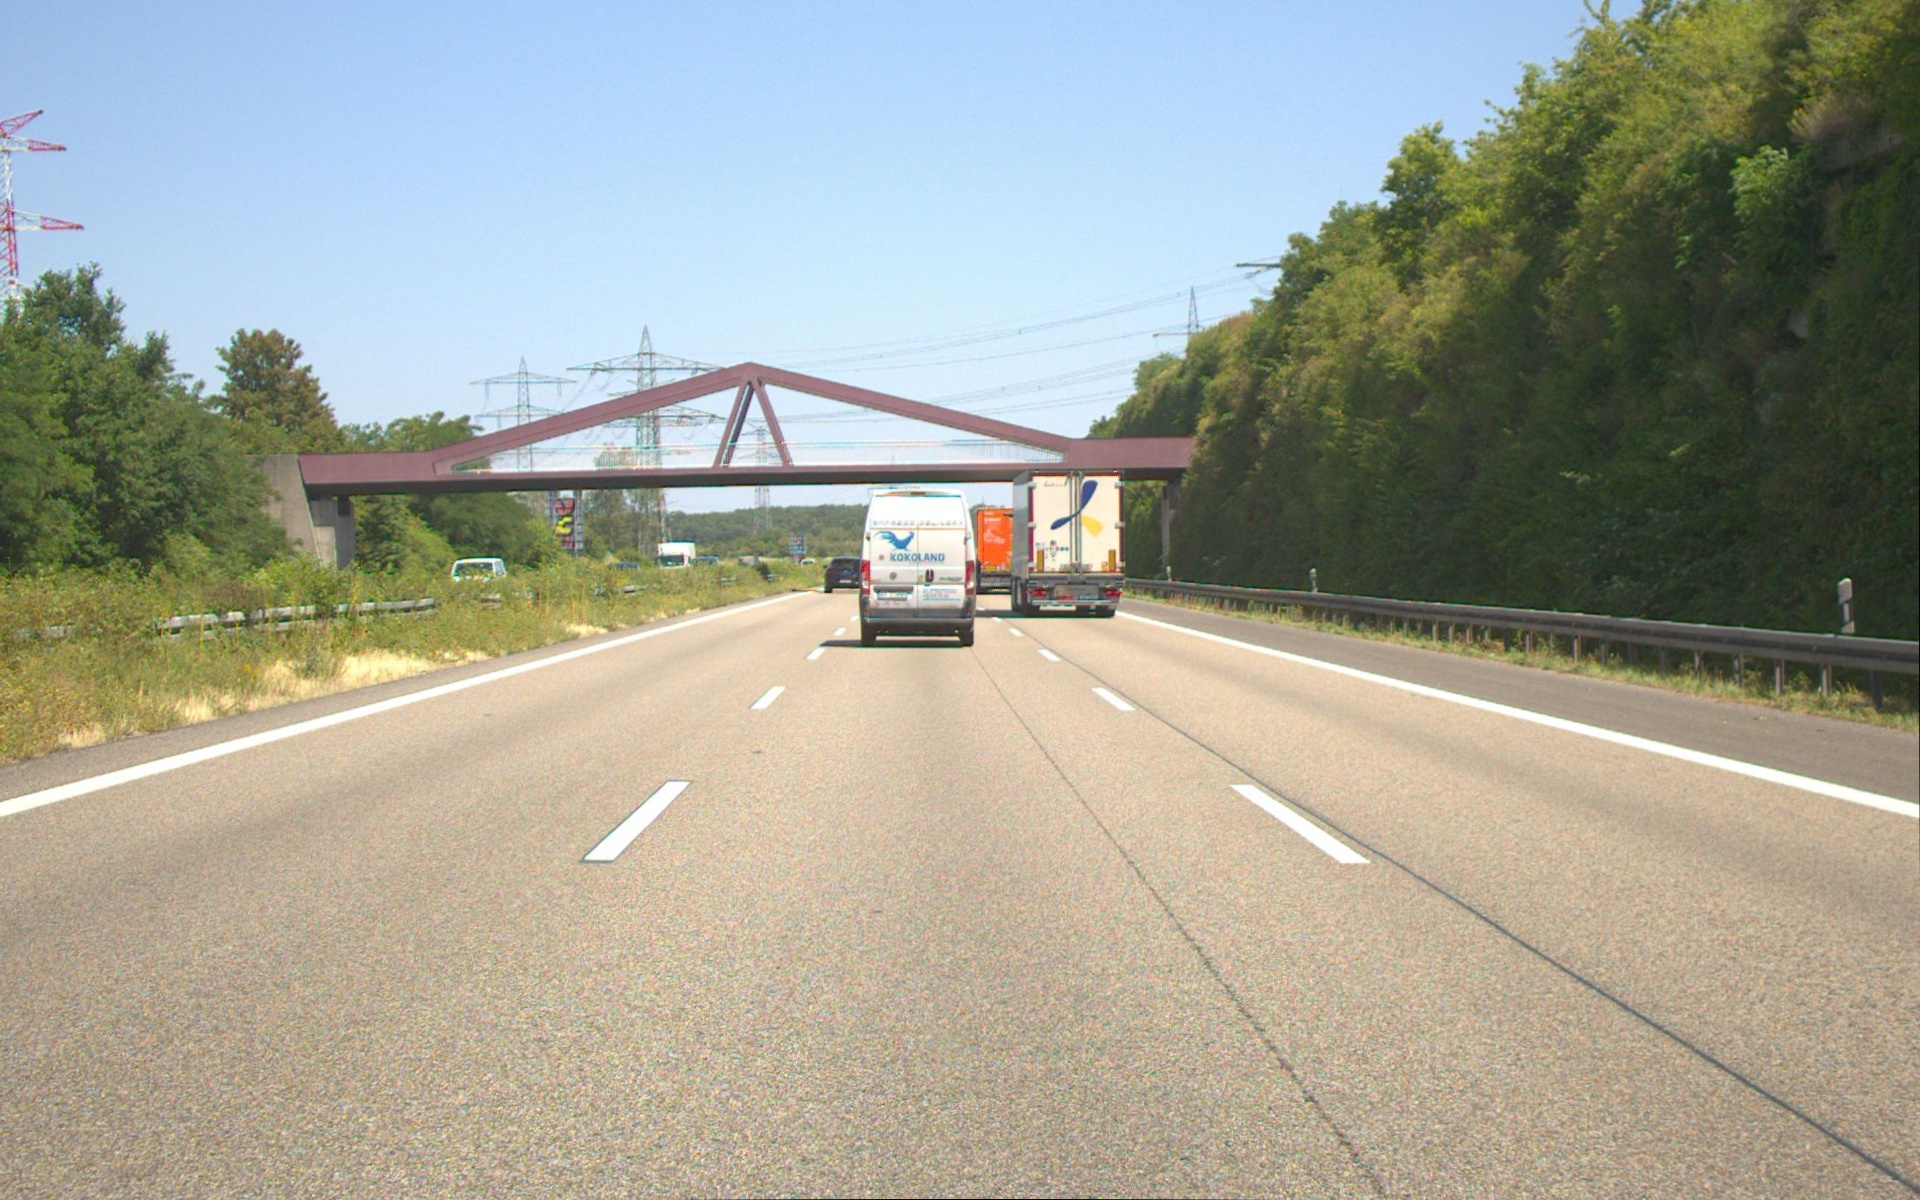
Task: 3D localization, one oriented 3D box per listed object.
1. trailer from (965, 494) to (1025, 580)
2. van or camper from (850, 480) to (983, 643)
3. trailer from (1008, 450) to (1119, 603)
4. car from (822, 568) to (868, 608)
[{"bbox_3d":[1.633,-2.952,162.384,2.637,3.883,7.069,1,1,0],"label":"trailer"},{"bbox_3d":[-0.799,-0.706,62.164,2.230,2.772,5.423,1,1,-1],"label":"van or camper"},{"bbox_3d":[2.870,-2.062,98.330,2.637,4.046,12.366,1,1,0],"label":"trailer"},{"bbox_3d":[-5.493,-0.591,164.332,1.982,1.811,3.813,1,1,1],"label":"car"}]
